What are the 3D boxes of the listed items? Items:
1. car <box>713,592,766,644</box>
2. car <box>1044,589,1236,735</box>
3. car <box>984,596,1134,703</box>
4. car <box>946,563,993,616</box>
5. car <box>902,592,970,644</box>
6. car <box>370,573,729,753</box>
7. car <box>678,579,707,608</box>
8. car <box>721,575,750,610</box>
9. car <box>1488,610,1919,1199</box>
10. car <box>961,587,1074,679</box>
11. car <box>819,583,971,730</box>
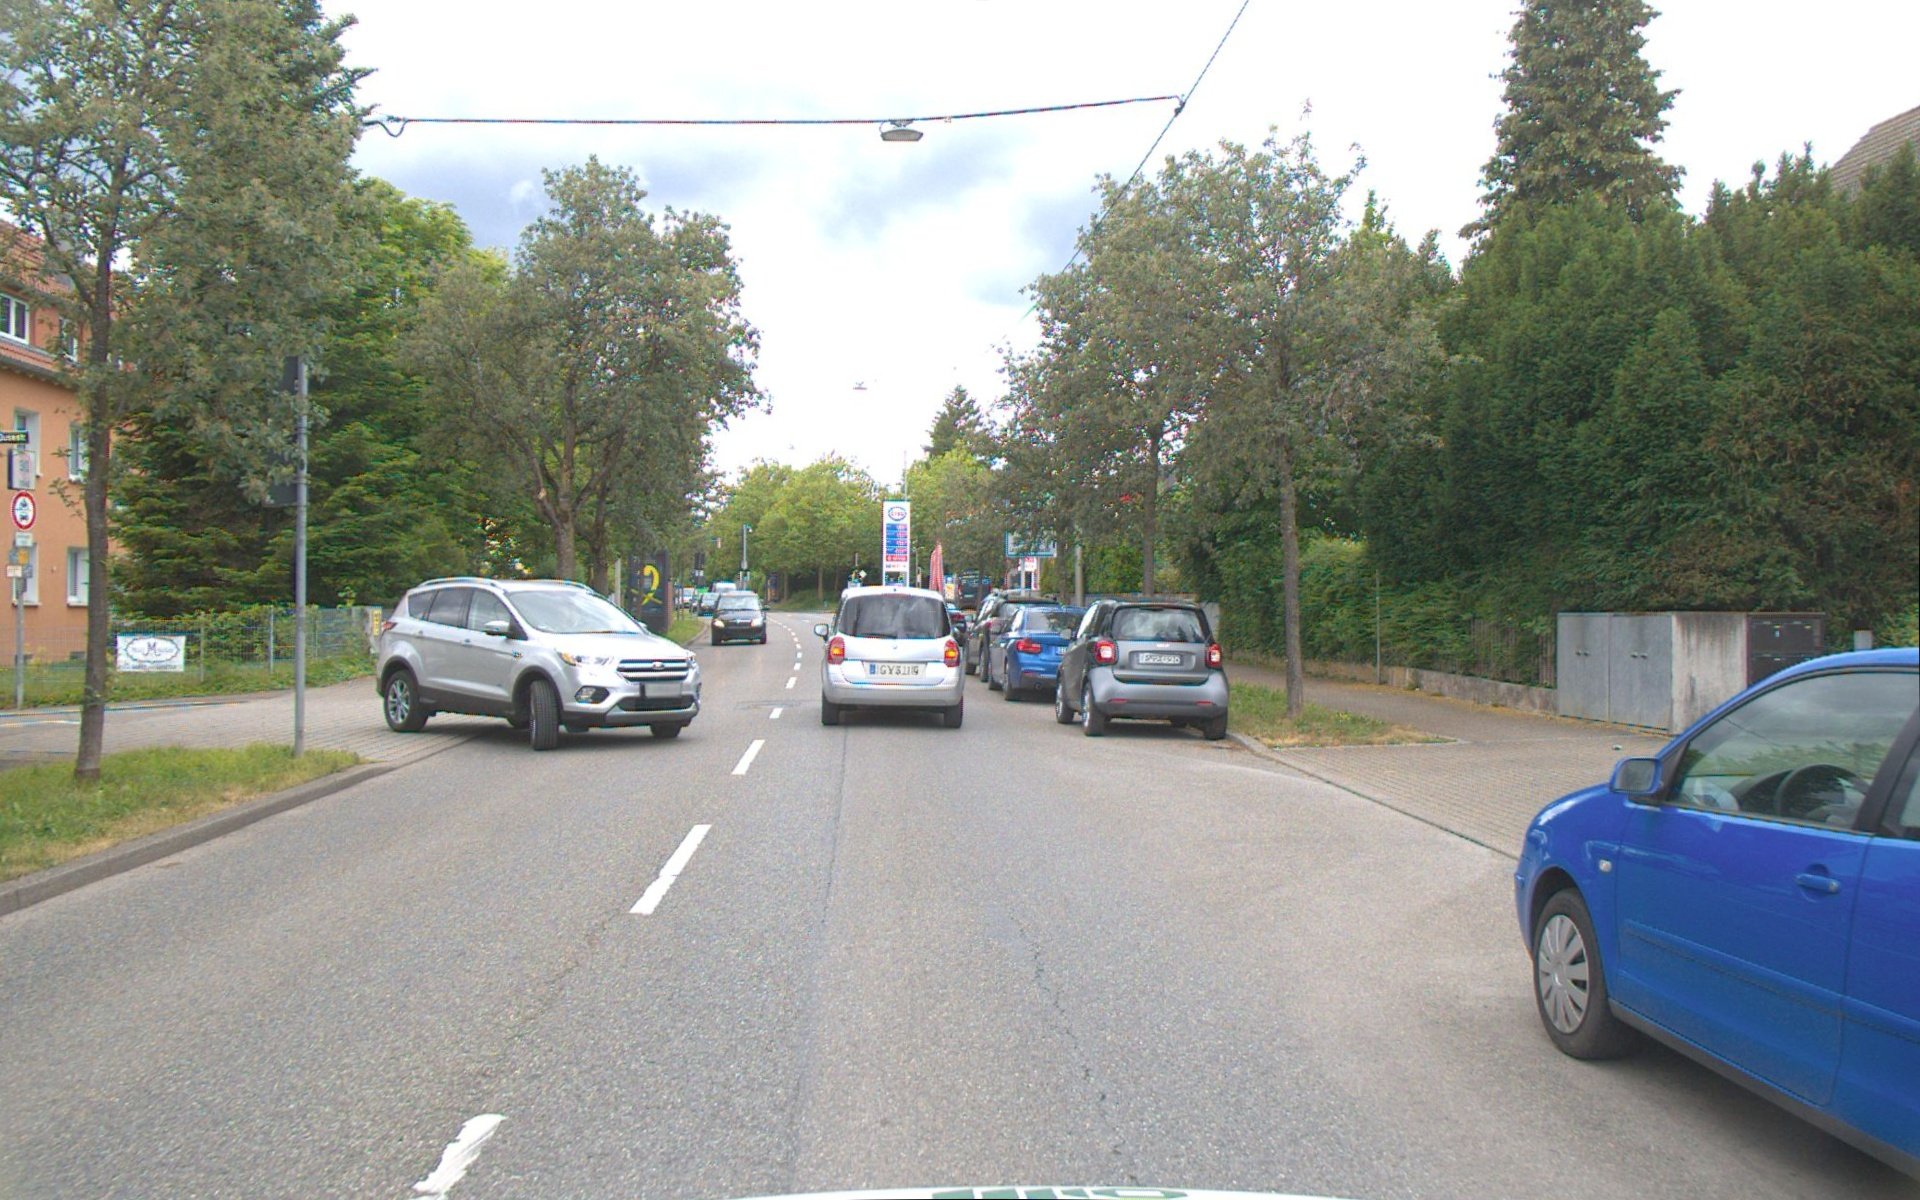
[{"bbox_3d":[-6.624,0.517,49.873,1.515,1.496,3.736,-1,0,-7],"label":"car"},{"bbox_3d":[2.090,0.681,20.223,1.662,1.585,3.952,1,0,-4],"label":"car"},{"bbox_3d":[1.440,0.693,25.592,1.664,1.458,4.335,2,0,-5],"label":"car"},{"bbox_3d":[0.518,-0.615,96.688,2.237,2.962,5.274,2,0,-5],"label":"car"},{"bbox_3d":[-0.781,0.524,51.278,1.663,1.532,3.966,1,0,-7],"label":"car"},{"bbox_3d":[-4.520,0.599,17.955,4.022,1.735,1.739,0,0,39],"label":"car"},{"bbox_3d":[-19.648,-0.492,121.658,1.897,2.049,3.994,1,0,-7],"label":"car"},{"bbox_3d":[-15.827,-0.542,116.701,1.897,2.450,3.994,1,0,-7],"label":"car"},{"bbox_3d":[2.983,0.810,4.587,1.594,1.477,3.873,2,0,-3],"label":"car"},{"bbox_3d":[1.010,0.570,30.933,1.662,1.598,3.951,0,0,-5],"label":"car"},{"bbox_3d":[-0.815,0.607,19.934,1.646,1.587,3.509,1,0,-3],"label":"car"}]
